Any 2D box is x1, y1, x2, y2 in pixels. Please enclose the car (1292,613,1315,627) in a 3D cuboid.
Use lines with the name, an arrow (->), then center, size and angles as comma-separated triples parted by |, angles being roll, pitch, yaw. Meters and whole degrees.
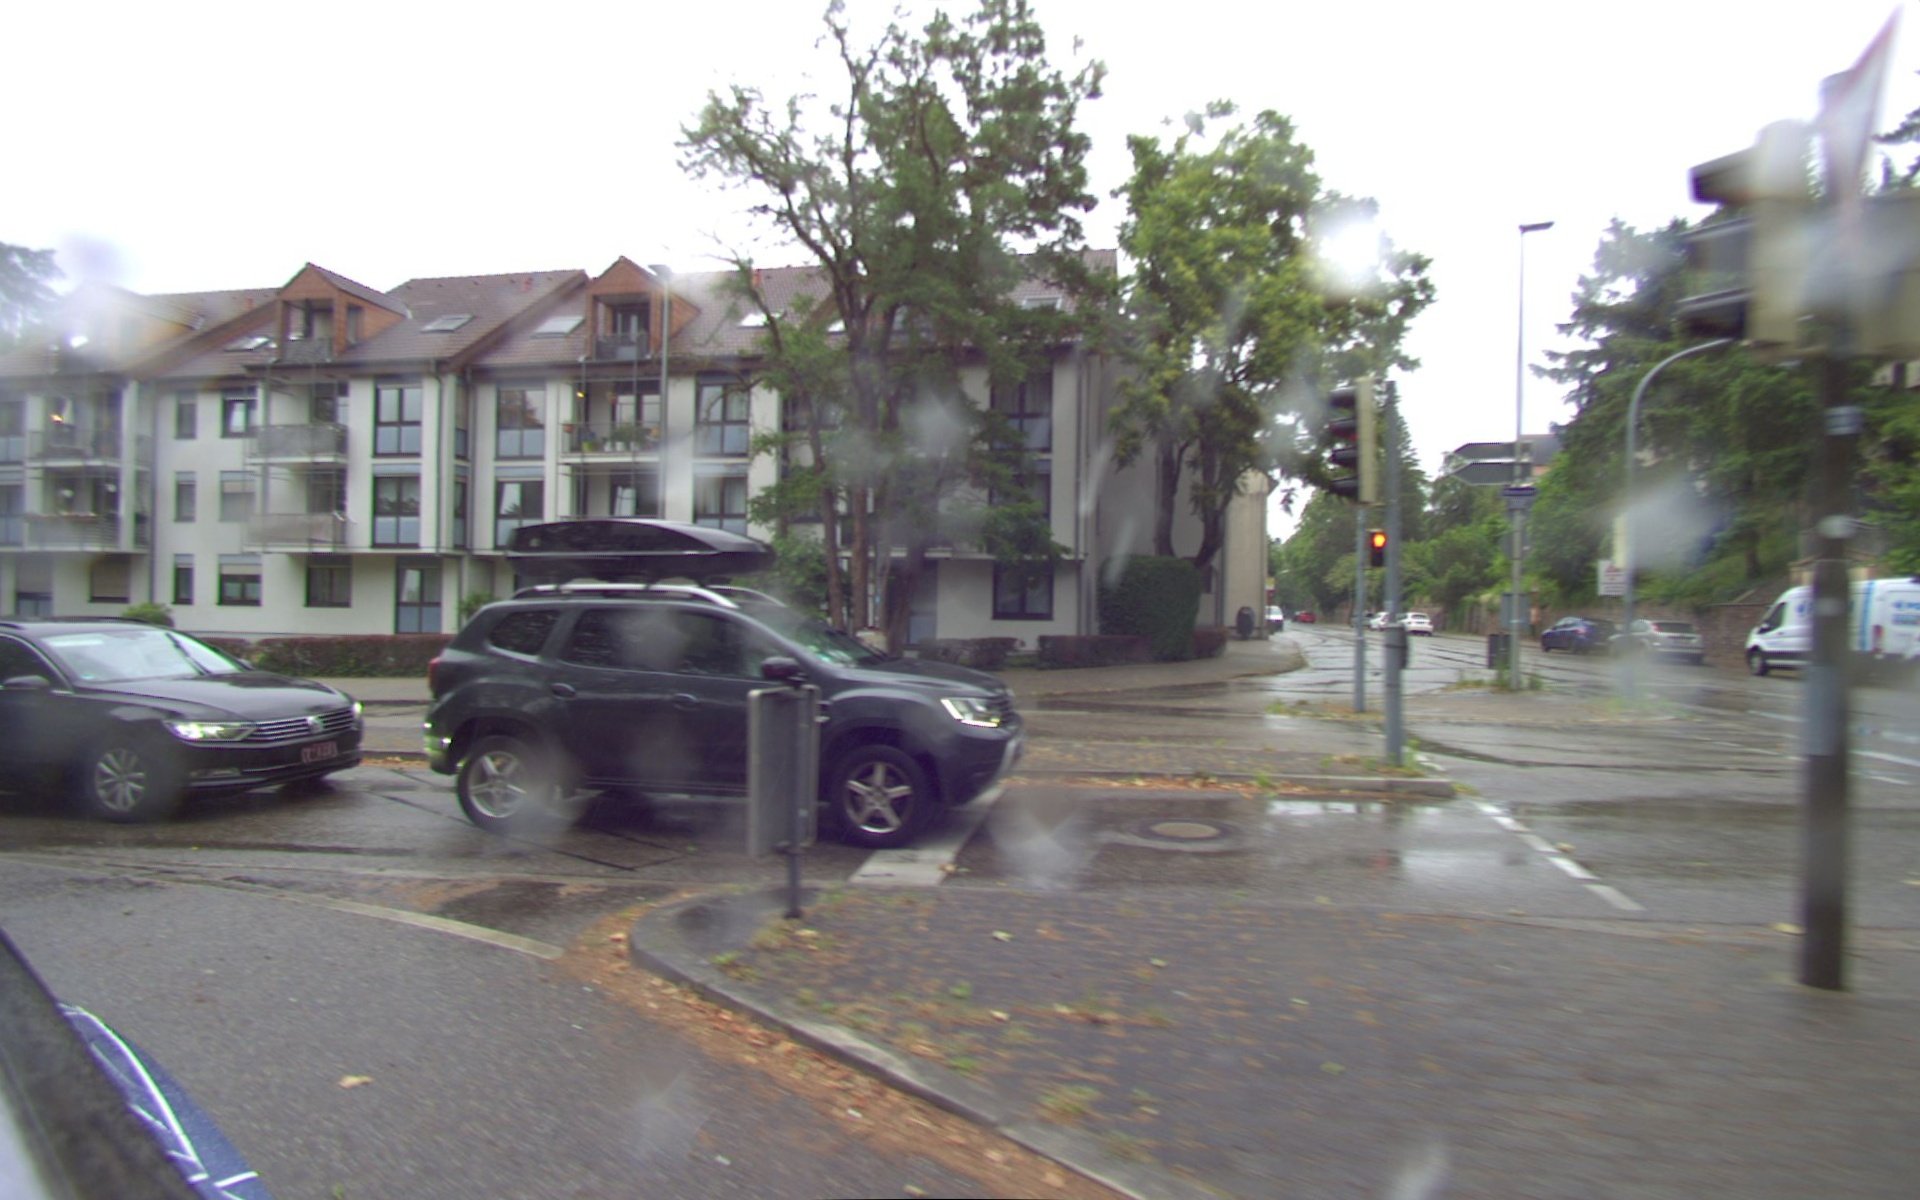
car -> 42.141, 2.455, 124.140 | 1.906, 1.664, 3.969 | 1, -2, 8

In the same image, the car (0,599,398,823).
car -> -7.252, 0.807, 8.193 | 4.608, 1.467, 1.832 | -1, 1, 11

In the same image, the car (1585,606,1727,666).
car -> 24.320, 1.181, 35.680 | 2.088, 1.867, 5.560 | 1, 0, 12

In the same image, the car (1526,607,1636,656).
car -> 25.699, 1.233, 42.110 | 2.088, 1.867, 5.560 | 1, 0, 12

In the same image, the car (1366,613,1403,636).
car -> 32.919, 1.895, 78.487 | 1.908, 1.667, 3.984 | 1, -2, 12

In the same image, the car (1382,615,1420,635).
car -> 31.734, 1.814, 72.913 | 1.742, 1.409, 3.983 | 1, -2, 13

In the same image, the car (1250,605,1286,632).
car -> 23.265, 1.425, 76.493 | 2.061, 1.973, 4.433 | 1, -2, 10

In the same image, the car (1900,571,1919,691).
car -> 20.709, 0.657, 18.651 | 2.292, 2.513, 5.658 | 1, 0, 12

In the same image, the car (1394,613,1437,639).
car -> 30.603, 1.784, 68.114 | 1.800, 1.658, 3.984 | 1, -2, 12

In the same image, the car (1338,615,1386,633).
car -> 35.127, 2.135, 88.586 | 3.853, 1.453, 1.805 | 1, -2, 20

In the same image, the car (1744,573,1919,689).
car -> 22.036, 0.695, 24.723 | 2.292, 2.513, 5.560 | 1, 0, 12

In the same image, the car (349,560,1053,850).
car -> -1.678, 0.664, 7.237 | 4.548, 1.724, 1.761 | -1, 0, 9
